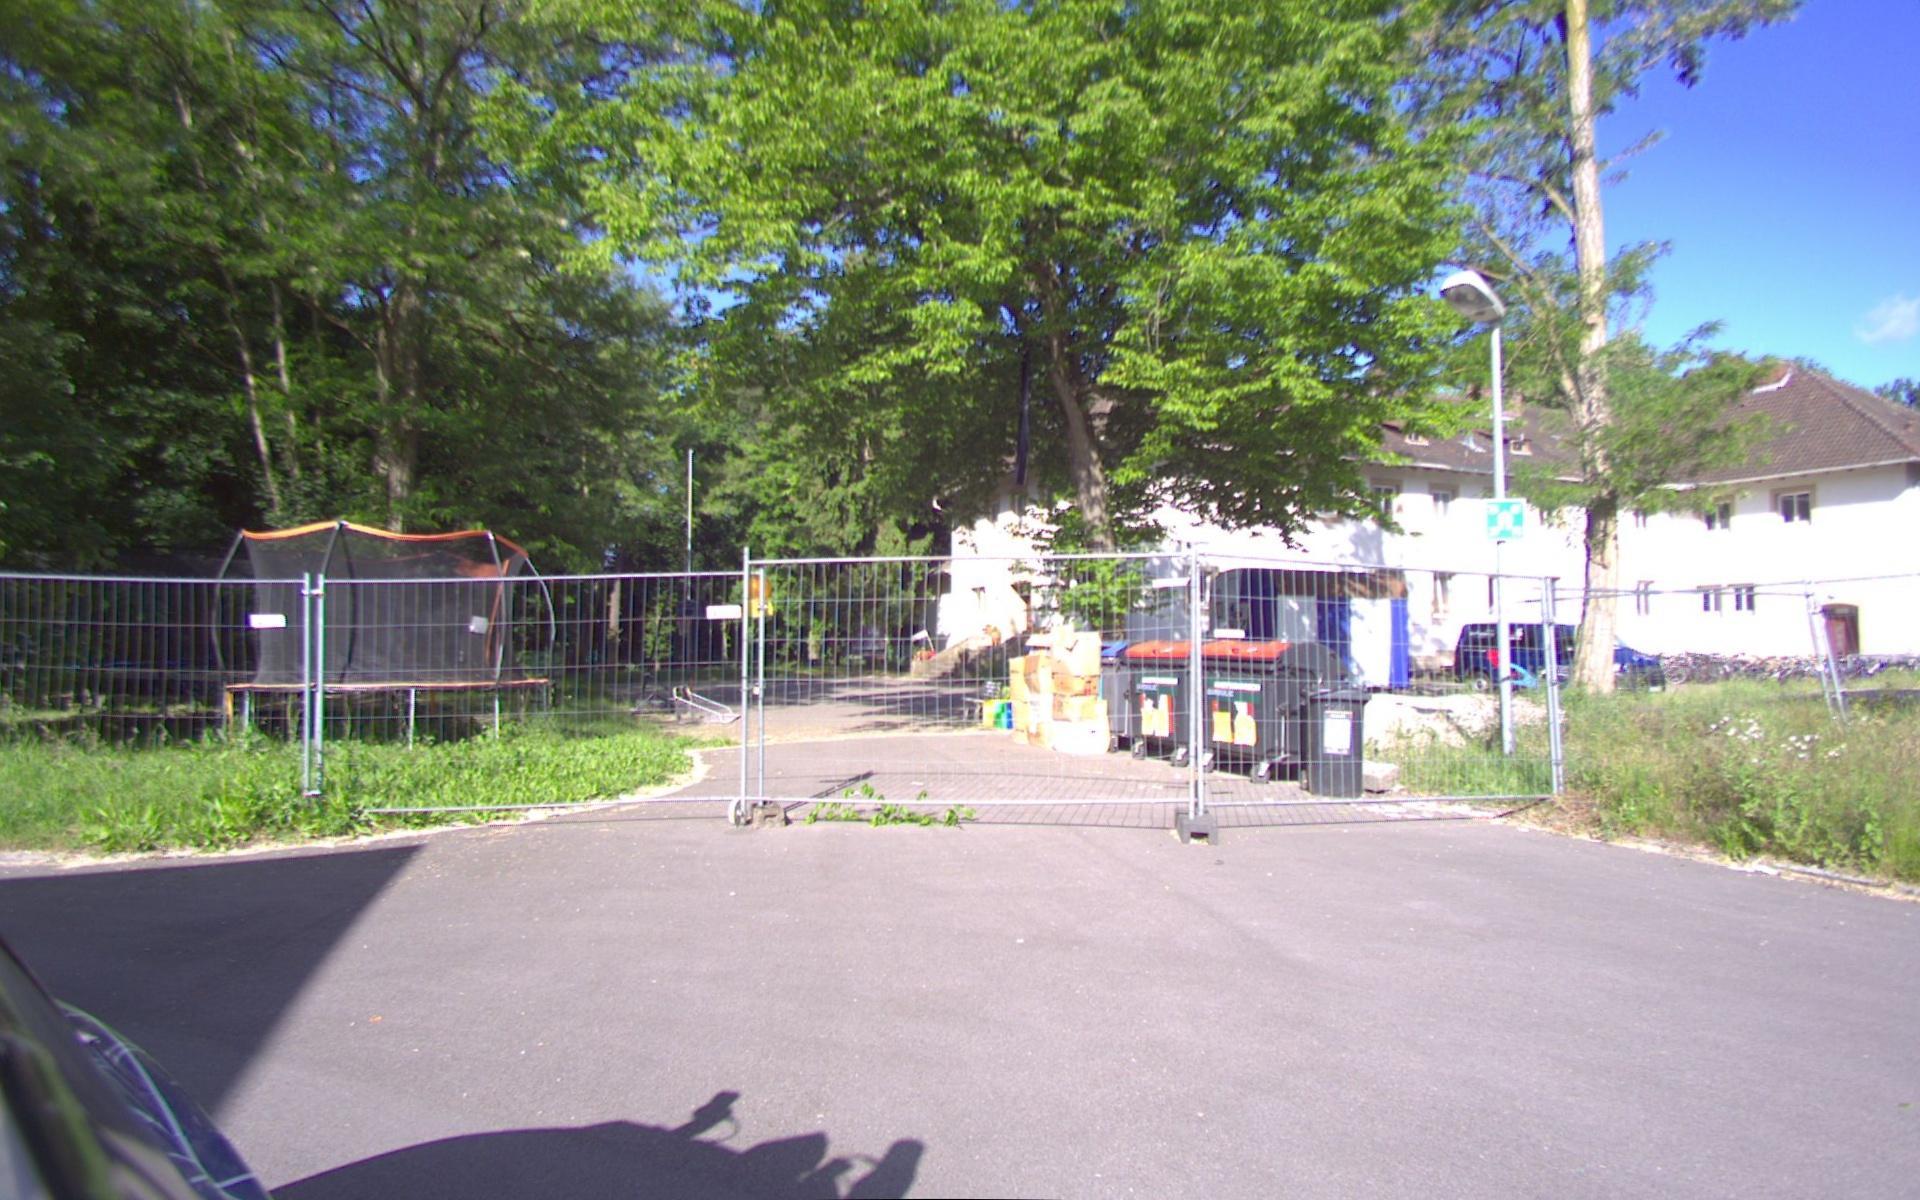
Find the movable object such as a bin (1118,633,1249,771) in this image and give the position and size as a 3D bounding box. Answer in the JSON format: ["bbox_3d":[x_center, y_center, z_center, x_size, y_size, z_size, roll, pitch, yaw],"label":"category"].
[{"bbox_3d":[2.574,1.144,11.804,0.793,1.495,1.346,1,-3,-28],"label":"movable object such as a bin"}]

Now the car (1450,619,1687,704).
[{"bbox_3d":[15.056,1.497,25.376,1.965,1.917,4.740,1,-3,-26],"label":"car"}]

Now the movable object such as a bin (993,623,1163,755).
[{"bbox_3d":[1.524,1.143,13.629,1.154,1.603,2.303,1,-3,-28],"label":"movable object such as a bin"}]

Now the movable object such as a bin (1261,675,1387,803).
[{"bbox_3d":[3.397,1.270,9.496,0.805,1.106,0.741,1,-3,-18],"label":"movable object such as a bin"}]

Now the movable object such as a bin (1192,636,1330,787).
[{"bbox_3d":[3.112,1.115,10.568,0.690,1.455,1.252,1,-3,-27],"label":"movable object such as a bin"}]
